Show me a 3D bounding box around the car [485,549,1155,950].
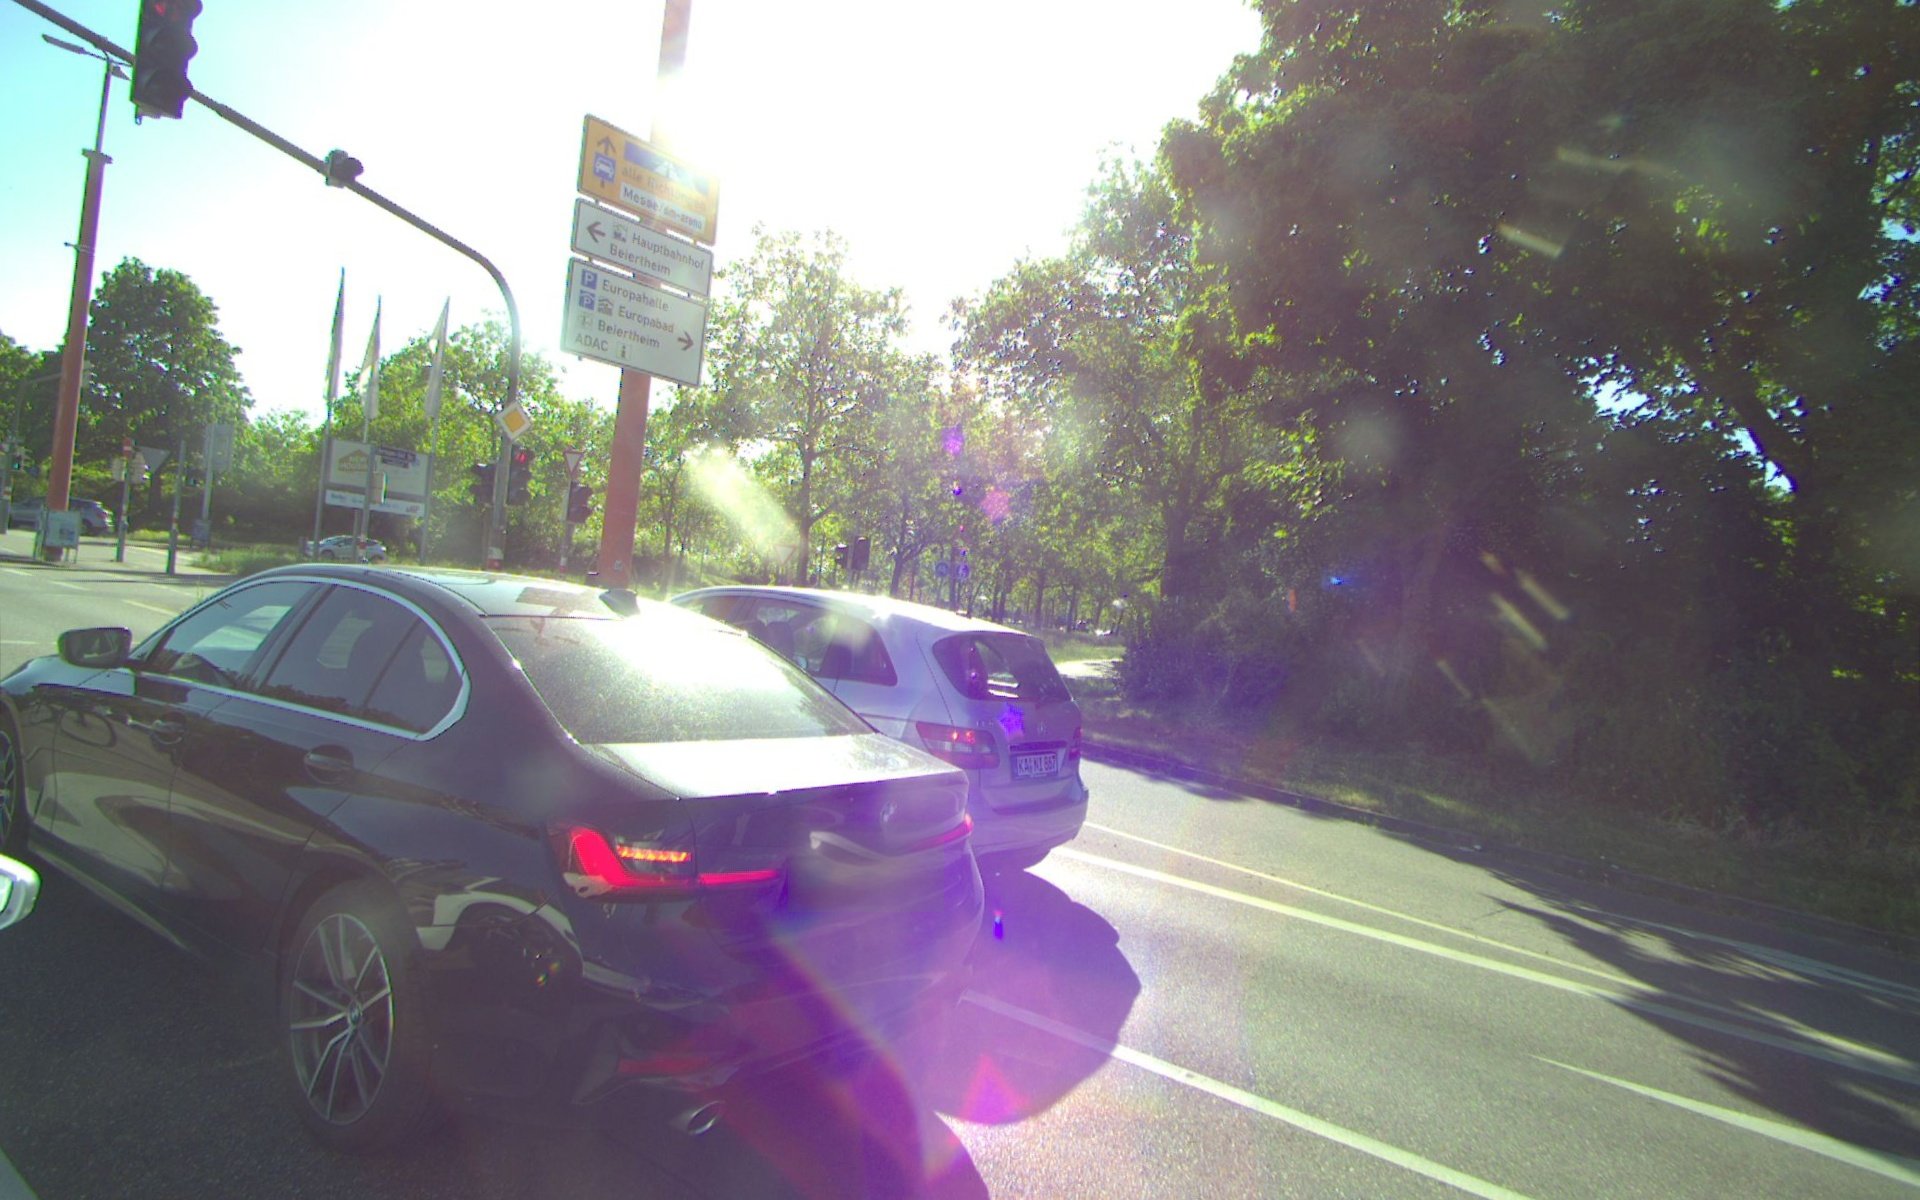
[{"bbox_3d":[-1.013,0.708,6.473,3.963,1.597,1.741,7,0,33],"label":"car"}]

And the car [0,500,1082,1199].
[{"bbox_3d":[-1.977,0.547,3.848,4.372,1.415,1.871,7,0,34],"label":"car"}]

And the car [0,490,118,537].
[{"bbox_3d":[-40.856,-3.885,45.232,4.288,1.503,1.769,8,-1,-34],"label":"car"}]

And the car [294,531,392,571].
[{"bbox_3d":[-32.392,-2.543,52.876,1.656,1.485,3.987,7,-1,32],"label":"car"}]
